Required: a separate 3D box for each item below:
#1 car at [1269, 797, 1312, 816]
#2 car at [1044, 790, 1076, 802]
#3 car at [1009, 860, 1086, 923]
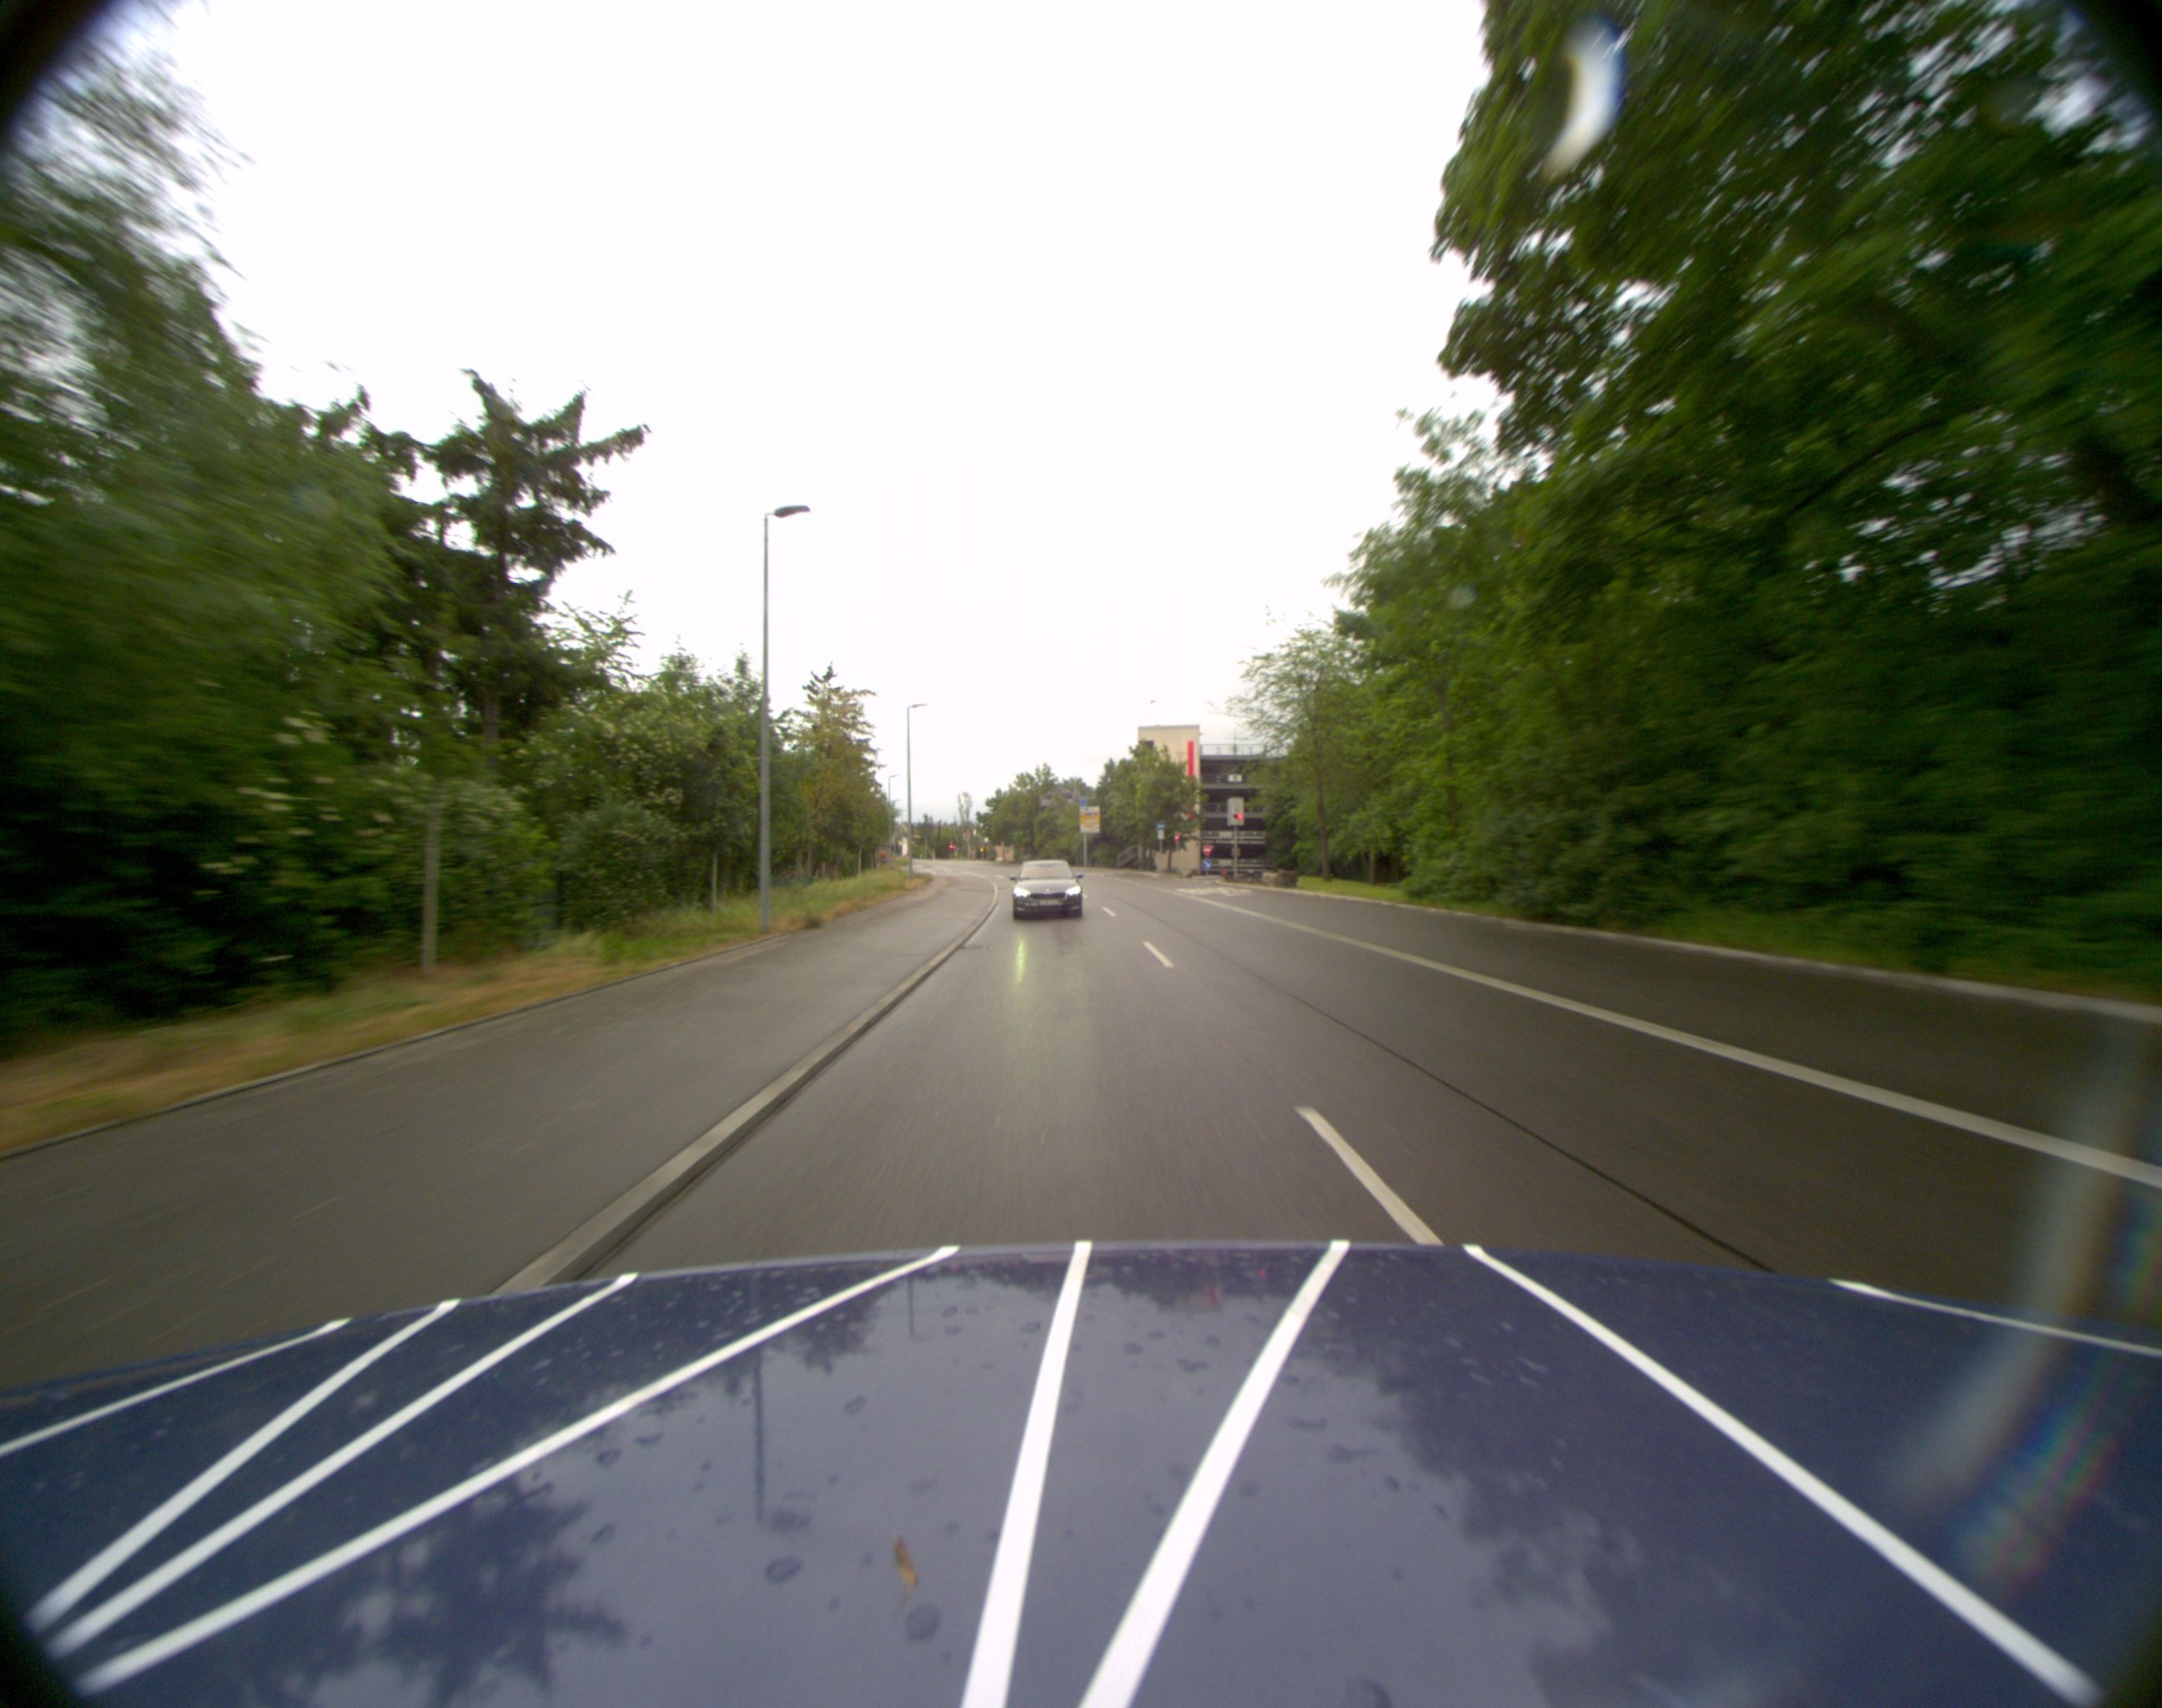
[{"bbox_3d":[21.317,-4.828,77.379,3.994,1.761,2.002,0,-1,8],"label":"car"},{"bbox_3d":[-2.878,-8.001,104.416,3.993,1.510,2.002,1,0,12],"label":"car"},{"bbox_3d":[-0.924,0.928,20.666,1.839,1.448,4.201,-2,0,-3],"label":"car"}]
